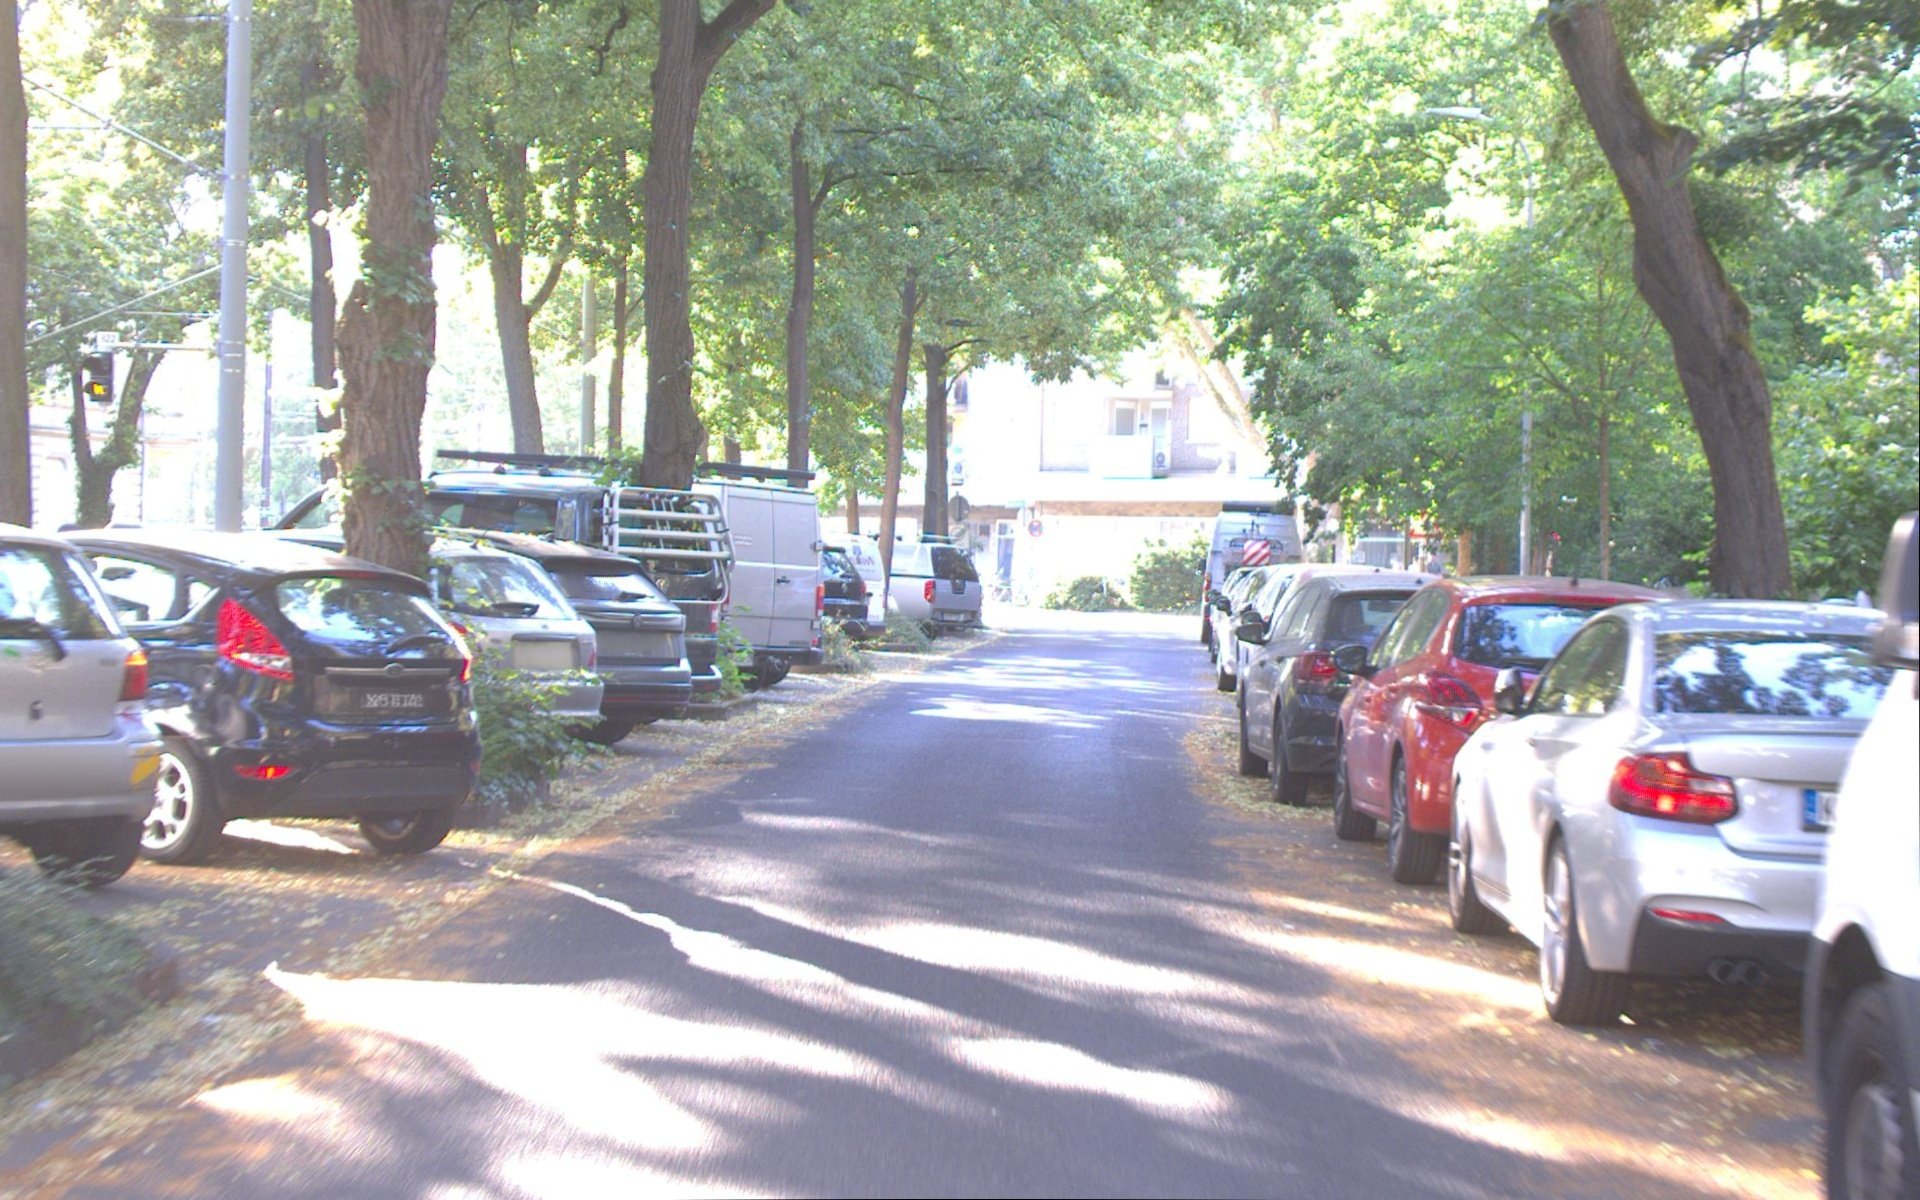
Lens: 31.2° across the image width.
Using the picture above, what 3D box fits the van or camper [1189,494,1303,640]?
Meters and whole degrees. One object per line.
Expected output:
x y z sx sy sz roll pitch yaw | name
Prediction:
5.707 -0.666 69.119 2.084 2.753 5.844 2 1 3 | van or camper

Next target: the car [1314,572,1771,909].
2.815 0.614 17.397 1.672 1.449 3.949 2 1 1 | car

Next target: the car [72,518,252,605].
-19.064 -0.917 82.116 3.995 2.007 1.996 1 1 34 | car

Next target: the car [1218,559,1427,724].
3.417 0.348 33.048 1.680 1.449 4.076 2 1 2 | car

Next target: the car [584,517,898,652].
-3.200 -0.236 49.941 4.156 1.638 1.911 5 1 35 | car

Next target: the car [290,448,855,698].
-4.002 -0.299 35.055 5.507 2.130 2.077 5 1 32 | car

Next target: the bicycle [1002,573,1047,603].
1.989 -0.378 106.799 0.542 0.901 1.736 1 1 -31 | bicycle

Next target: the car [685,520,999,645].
-2.048 -0.306 59.058 4.995 1.775 1.984 5 1 31 | car

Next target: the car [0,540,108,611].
-19.264 -0.516 69.545 3.732 1.376 1.724 1 1 27 | car

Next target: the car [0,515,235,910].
-5.002 0.326 14.222 3.546 1.488 1.822 5 1 31 | car

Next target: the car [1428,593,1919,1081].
2.769 0.713 12.444 1.672 1.393 4.299 2 1 2 | car

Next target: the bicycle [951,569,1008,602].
0.616 -0.457 108.707 0.638 1.019 2.088 1 1 -37 | bicycle

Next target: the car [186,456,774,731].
-4.062 -0.077 28.705 4.708 1.936 1.930 5 1 35 | car

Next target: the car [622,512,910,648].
-3.028 -0.324 53.158 4.157 1.775 1.879 5 1 39 | car

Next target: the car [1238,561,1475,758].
3.144 0.427 27.822 1.591 1.449 3.555 2 1 2 | car

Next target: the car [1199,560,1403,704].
3.711 0.311 38.019 1.680 1.449 4.076 1 1 -2 | car

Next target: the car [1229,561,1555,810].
2.743 0.489 22.573 1.672 1.449 3.949 2 1 1 | car

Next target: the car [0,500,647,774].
-4.307 0.223 23.068 4.089 1.483 1.780 5 1 33 | car

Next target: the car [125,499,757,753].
-3.965 0.173 25.940 4.566 1.535 1.930 5 1 35 | car

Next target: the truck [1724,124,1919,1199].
2.907 0.357 4.328 2.295 2.378 6.934 1 1 0 | truck

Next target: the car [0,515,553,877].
-4.025 0.369 16.505 3.821 1.434 1.821 5 1 36 | car

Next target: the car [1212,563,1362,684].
4.135 0.254 44.020 1.680 1.419 4.658 2 1 3 | car

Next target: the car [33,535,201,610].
-19.331 -0.637 78.771 3.645 1.634 1.658 1 1 32 | car
